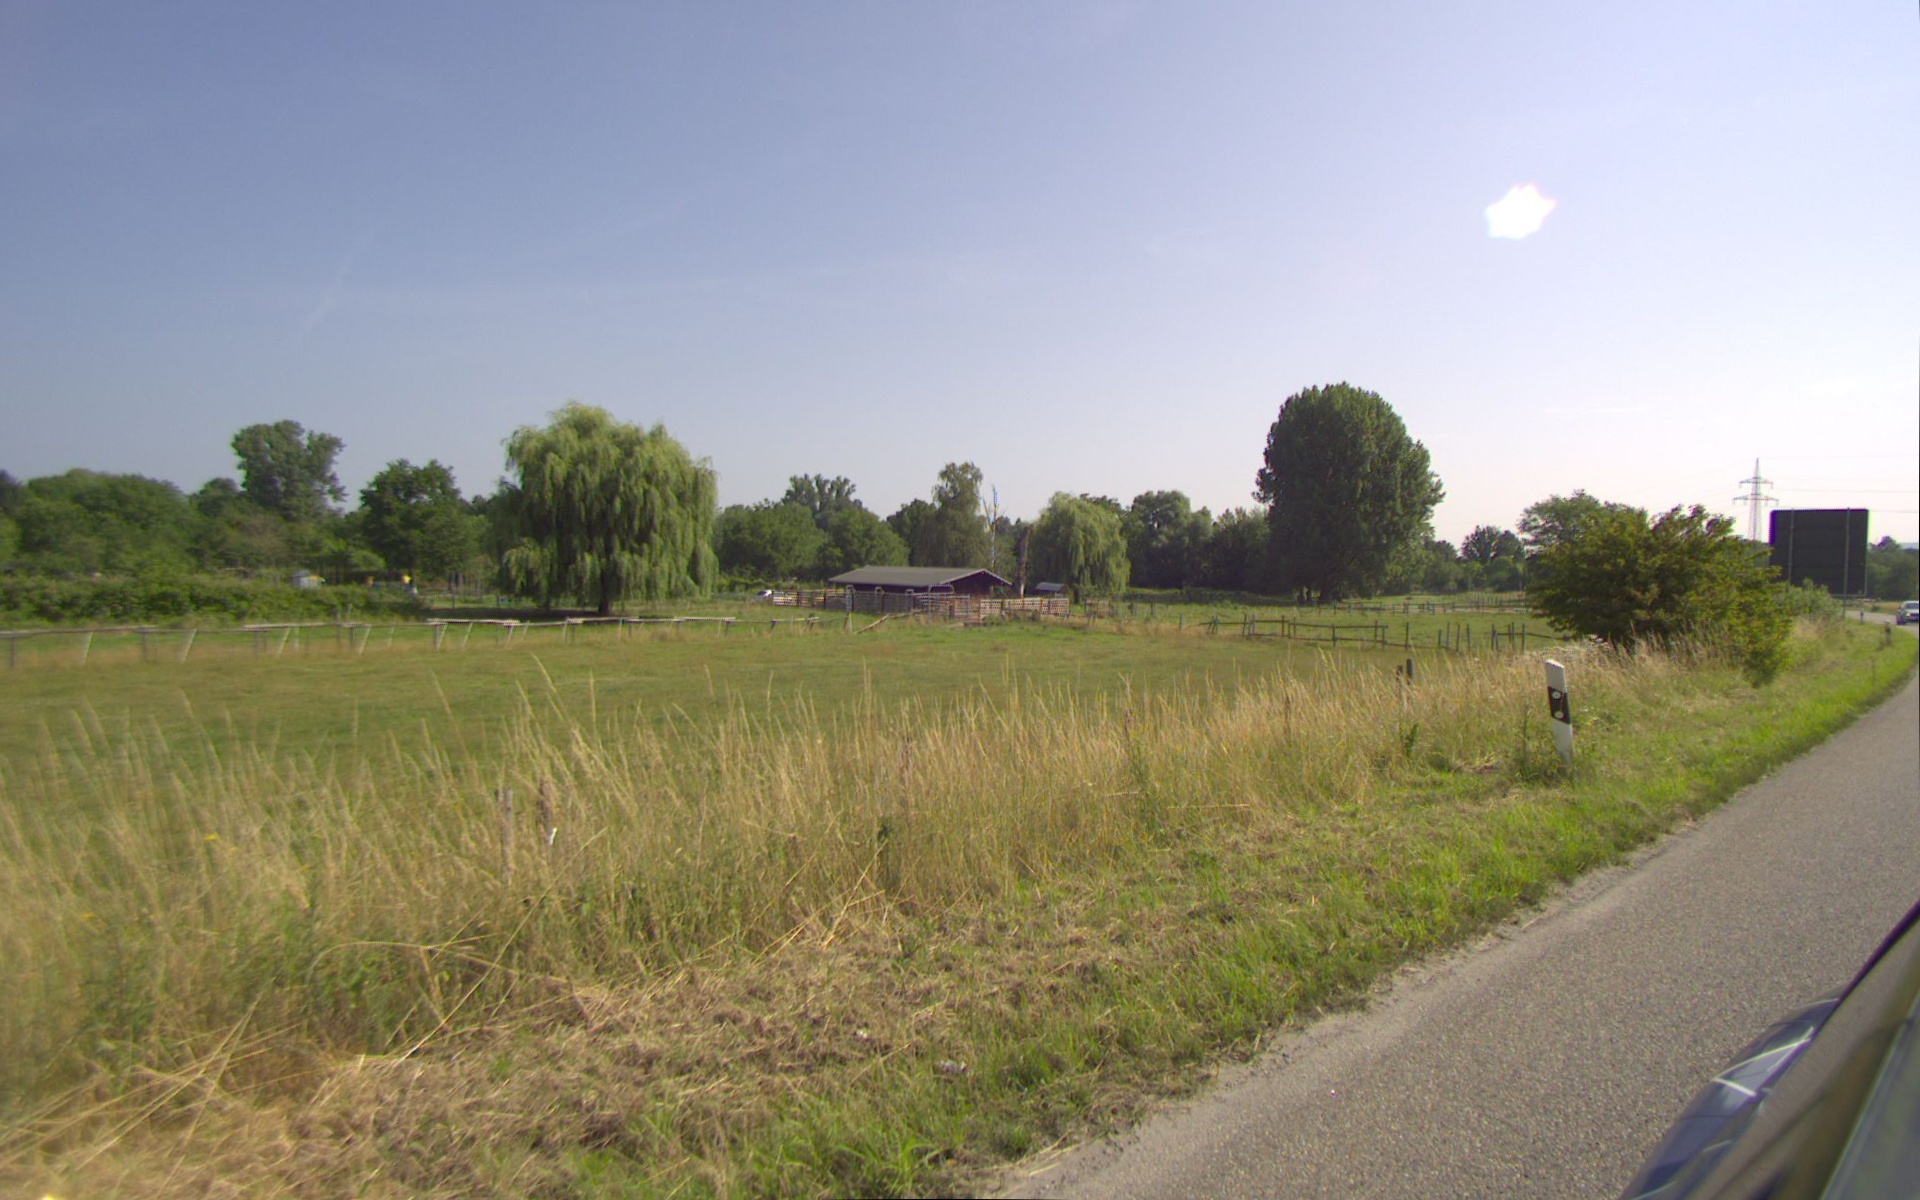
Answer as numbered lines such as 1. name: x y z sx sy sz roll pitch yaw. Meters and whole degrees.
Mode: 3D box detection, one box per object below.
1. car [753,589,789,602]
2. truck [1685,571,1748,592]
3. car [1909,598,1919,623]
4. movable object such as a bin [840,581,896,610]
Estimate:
1. car: -15.859 -0.385 85.102 1.220 1.018 3.015 0 1 34
2. truck: 113.236 -2.689 151.573 2.542 3.084 7.343 0 1 -45
3. car: 63.815 0.664 66.351 1.990 1.600 3.854 0 1 39
4. movable object such as a bin: -7.164 -0.355 78.750 1.992 2.221 4.101 -1 -1 41
